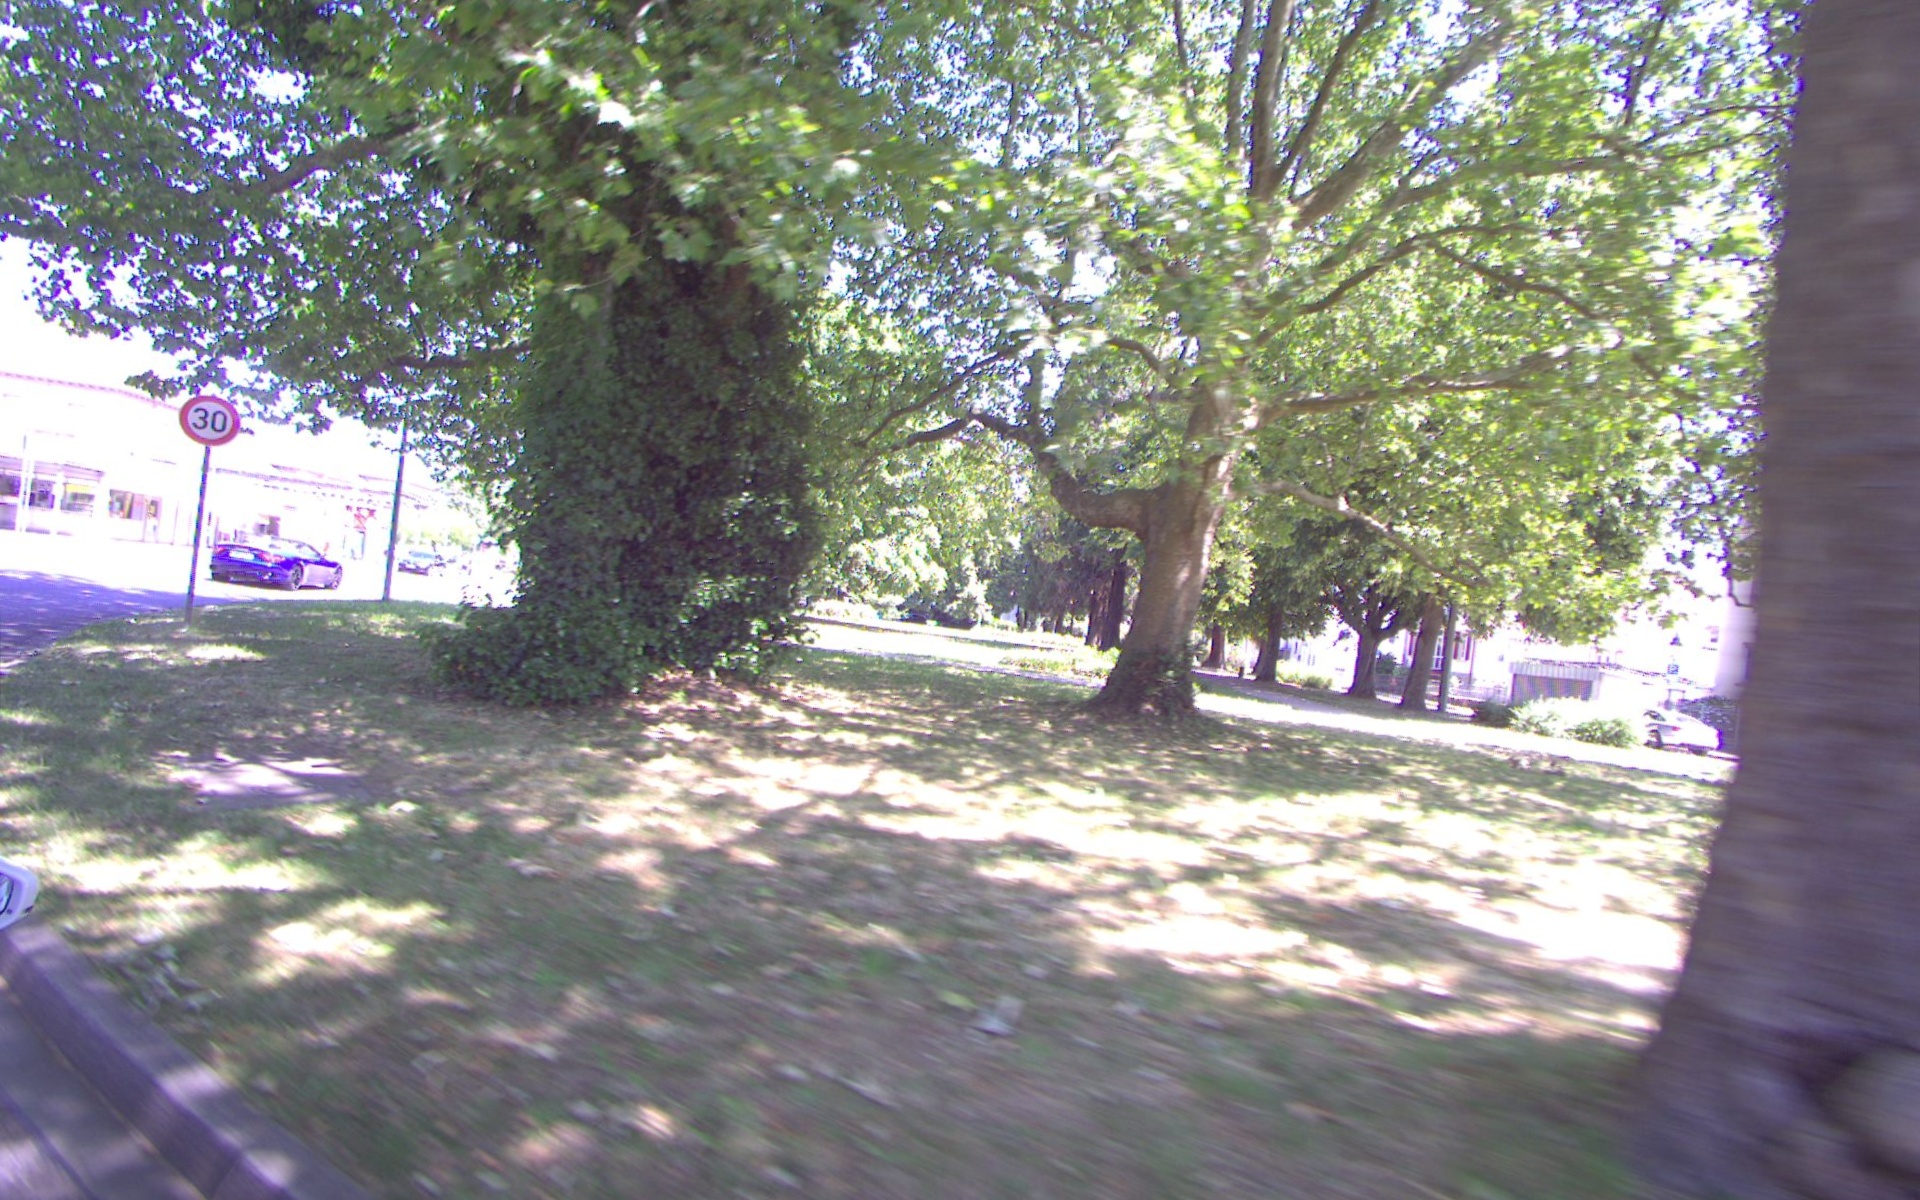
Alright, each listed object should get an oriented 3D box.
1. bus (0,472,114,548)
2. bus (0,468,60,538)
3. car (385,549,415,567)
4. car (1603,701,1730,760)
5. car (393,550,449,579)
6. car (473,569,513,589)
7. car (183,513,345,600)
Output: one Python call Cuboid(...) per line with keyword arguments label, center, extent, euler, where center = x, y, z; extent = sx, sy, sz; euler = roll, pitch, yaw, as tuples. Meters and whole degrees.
Cuboid(label="bus", center=(-45.909, -4.494, 47.707), extent=(2.640, 3.077, 13.861), euler=(7, -1, -13))
Cuboid(label="bus", center=(-53.117, -5.557, 53.097), extent=(2.134, 3.568, 12.199), euler=(7, -1, -11))
Cuboid(label="car", center=(-68.639, -5.152, 123.408), extent=(1.728, 1.941, 4.764), euler=(7, 0, -12))
Cuboid(label="car", center=(26.113, 4.794, 37.368), extent=(1.721, 1.525, 4.000), euler=(7, -1, 0))
Cuboid(label="car", center=(-33.366, -2.163, 62.399), extent=(1.696, 1.496, 4.775), euler=(6, -1, -13))
Cuboid(label="car", center=(-36.104, -1.608, 77.884), extent=(1.790, 1.463, 4.149), euler=(3, 0, -11))
Cuboid(label="car", center=(-18.471, -1.086, 26.962), extent=(2.099, 1.870, 4.038), euler=(8, -1, -14))
